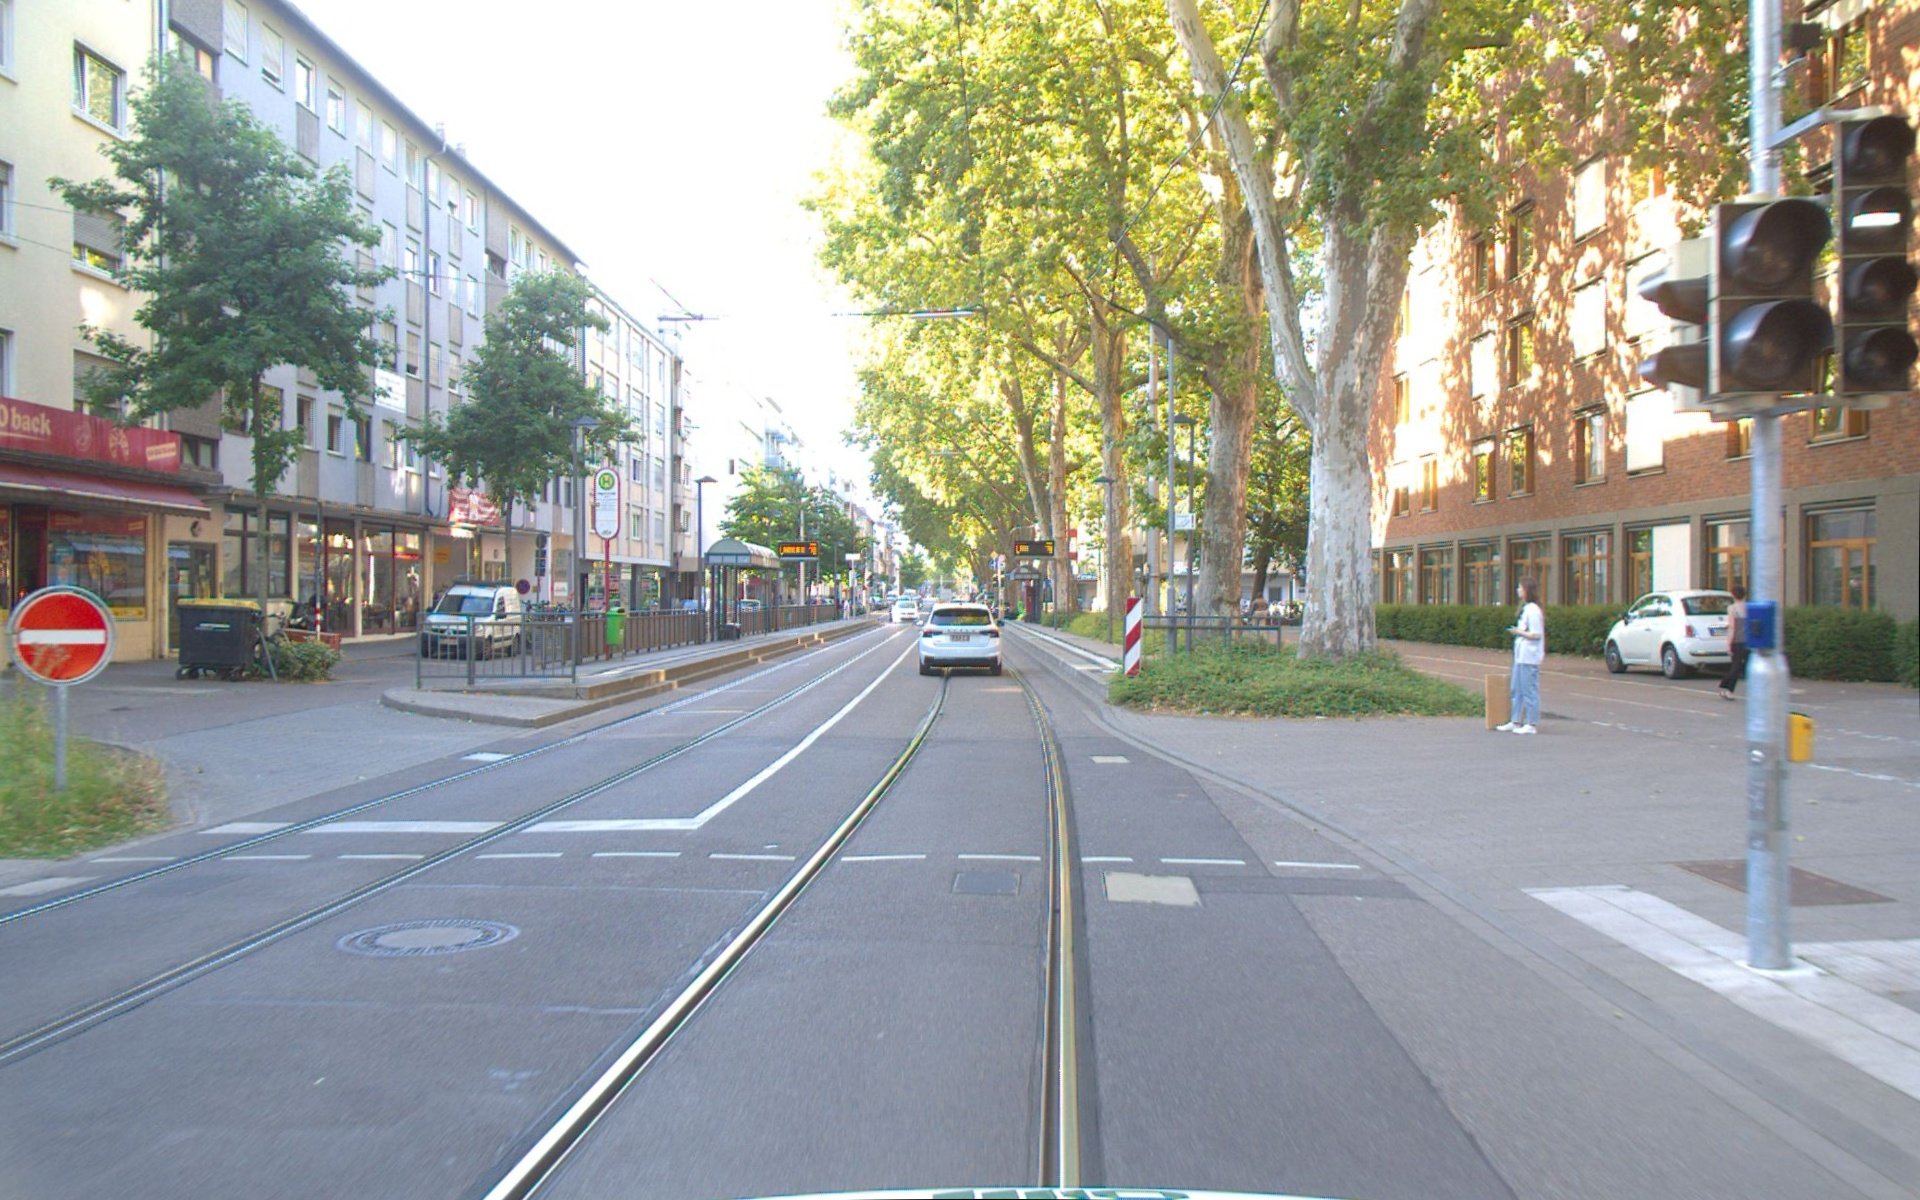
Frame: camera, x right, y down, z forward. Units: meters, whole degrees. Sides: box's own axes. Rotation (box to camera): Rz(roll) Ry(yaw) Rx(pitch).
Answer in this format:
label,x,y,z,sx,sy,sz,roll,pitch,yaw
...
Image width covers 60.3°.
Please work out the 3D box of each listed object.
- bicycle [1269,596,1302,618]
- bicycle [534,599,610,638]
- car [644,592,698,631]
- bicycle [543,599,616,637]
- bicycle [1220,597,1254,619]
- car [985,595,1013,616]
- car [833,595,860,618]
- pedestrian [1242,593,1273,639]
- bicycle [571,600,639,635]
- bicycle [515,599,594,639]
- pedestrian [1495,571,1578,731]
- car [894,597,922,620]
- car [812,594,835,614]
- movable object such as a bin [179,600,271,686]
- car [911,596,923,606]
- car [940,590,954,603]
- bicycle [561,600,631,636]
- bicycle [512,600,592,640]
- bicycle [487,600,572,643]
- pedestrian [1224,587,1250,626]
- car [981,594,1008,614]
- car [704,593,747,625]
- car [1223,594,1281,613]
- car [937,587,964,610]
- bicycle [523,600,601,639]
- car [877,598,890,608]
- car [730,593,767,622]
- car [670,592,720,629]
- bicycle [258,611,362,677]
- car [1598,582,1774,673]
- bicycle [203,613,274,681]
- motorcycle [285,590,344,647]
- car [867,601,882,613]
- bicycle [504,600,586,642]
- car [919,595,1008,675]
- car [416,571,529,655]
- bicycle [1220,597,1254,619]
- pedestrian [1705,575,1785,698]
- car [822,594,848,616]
label,x,y,z,sx,sy,sz,roll,pitch,yaw
bicycle,15.697,0.334,79.774,1.534,1.055,0.479,0,0,21
bicycle,-12.348,0.591,52.631,2.207,1.092,0.636,3,0,1
car,-12.186,0.460,69.987,1.561,1.575,4.000,2,0,0
bicycle,-12.503,0.588,54.377,2.207,1.092,0.636,3,0,1
bicycle,13.335,0.381,79.677,1.534,1.055,0.479,0,0,21
car,2.856,0.385,122.585,1.953,1.478,4.000,0,0,0
car,-8.261,0.437,120.633,1.643,1.575,4.000,2,0,0
pedestrian,10.742,0.572,59.717,0.952,1.652,0.887,0,0,-1
bicycle,-12.402,0.595,57.827,2.207,1.092,0.636,3,0,1
bicycle,-12.424,0.576,50.756,2.207,1.092,0.636,3,0,1
pedestrian,6.256,0.542,17.974,0.639,1.698,0.738,0,0,-1
car,-3.313,0.522,105.099,1.659,1.444,4.000,0,0,0
car,-11.535,0.349,140.107,1.643,1.575,4.000,2,0,0
movable object such as a bin,-12.462,0.727,28.067,1.147,1.372,0.782,3,0,-5
car,-6.580,0.104,252.700,1.752,1.540,4.000,0,0,0
car,-1.838,-0.494,234.317,1.828,1.925,4.000,0,0,0
bicycle,-12.367,0.599,56.209,2.207,1.092,0.636,3,0,1
bicycle,-12.370,0.604,50.138,2.207,1.092,0.636,3,0,1
bicycle,-12.308,0.609,47.287,2.207,1.092,0.636,3,0,1
pedestrian,11.728,0.260,69.971,0.952,1.652,0.887,0,0,-1
car,2.655,0.309,127.670,1.953,1.478,4.000,0,0,0
car,-12.165,0.446,86.147,1.643,1.575,4.000,2,0,0
car,21.094,0.251,119.455,3.905,1.396,1.867,0,0,1
car,-0.632,-0.106,112.149,1.752,1.540,4.000,0,0,0
bicycle,-12.352,0.593,51.368,2.207,1.092,0.636,3,0,1
car,-11.595,0.433,251.730,1.752,1.540,4.000,0,0,0
car,-12.537,0.425,98.301,1.643,1.575,4.000,2,0,0
car,-11.985,0.464,74.942,1.561,1.575,4.000,2,0,0
bicycle,-11.828,0.794,30.144,1.502,1.094,0.885,3,0,-1
car,12.869,0.461,29.527,1.568,1.521,3.416,0,0,-2
bicycle,-12.832,0.821,29.465,0.488,1.127,1.799,3,0,-3
motorcycle,-15.677,0.426,40.215,0.586,1.334,2.222,0,0,0
car,-11.140,0.863,216.382,1.752,1.540,4.000,0,0,0
bicycle,-12.270,0.618,48.935,2.207,1.092,0.636,3,0,1
car,0.060,0.687,34.598,1.752,1.540,4.000,0,0,0
car,-12.115,0.296,41.339,1.653,1.974,4.000,0,0,0
bicycle,13.496,0.380,80.593,1.534,1.055,0.504,0,0,21
pedestrian,11.020,0.503,23.236,0.720,1.698,0.834,0,0,-1
car,-9.688,0.371,128.173,1.643,1.575,4.000,2,0,0
